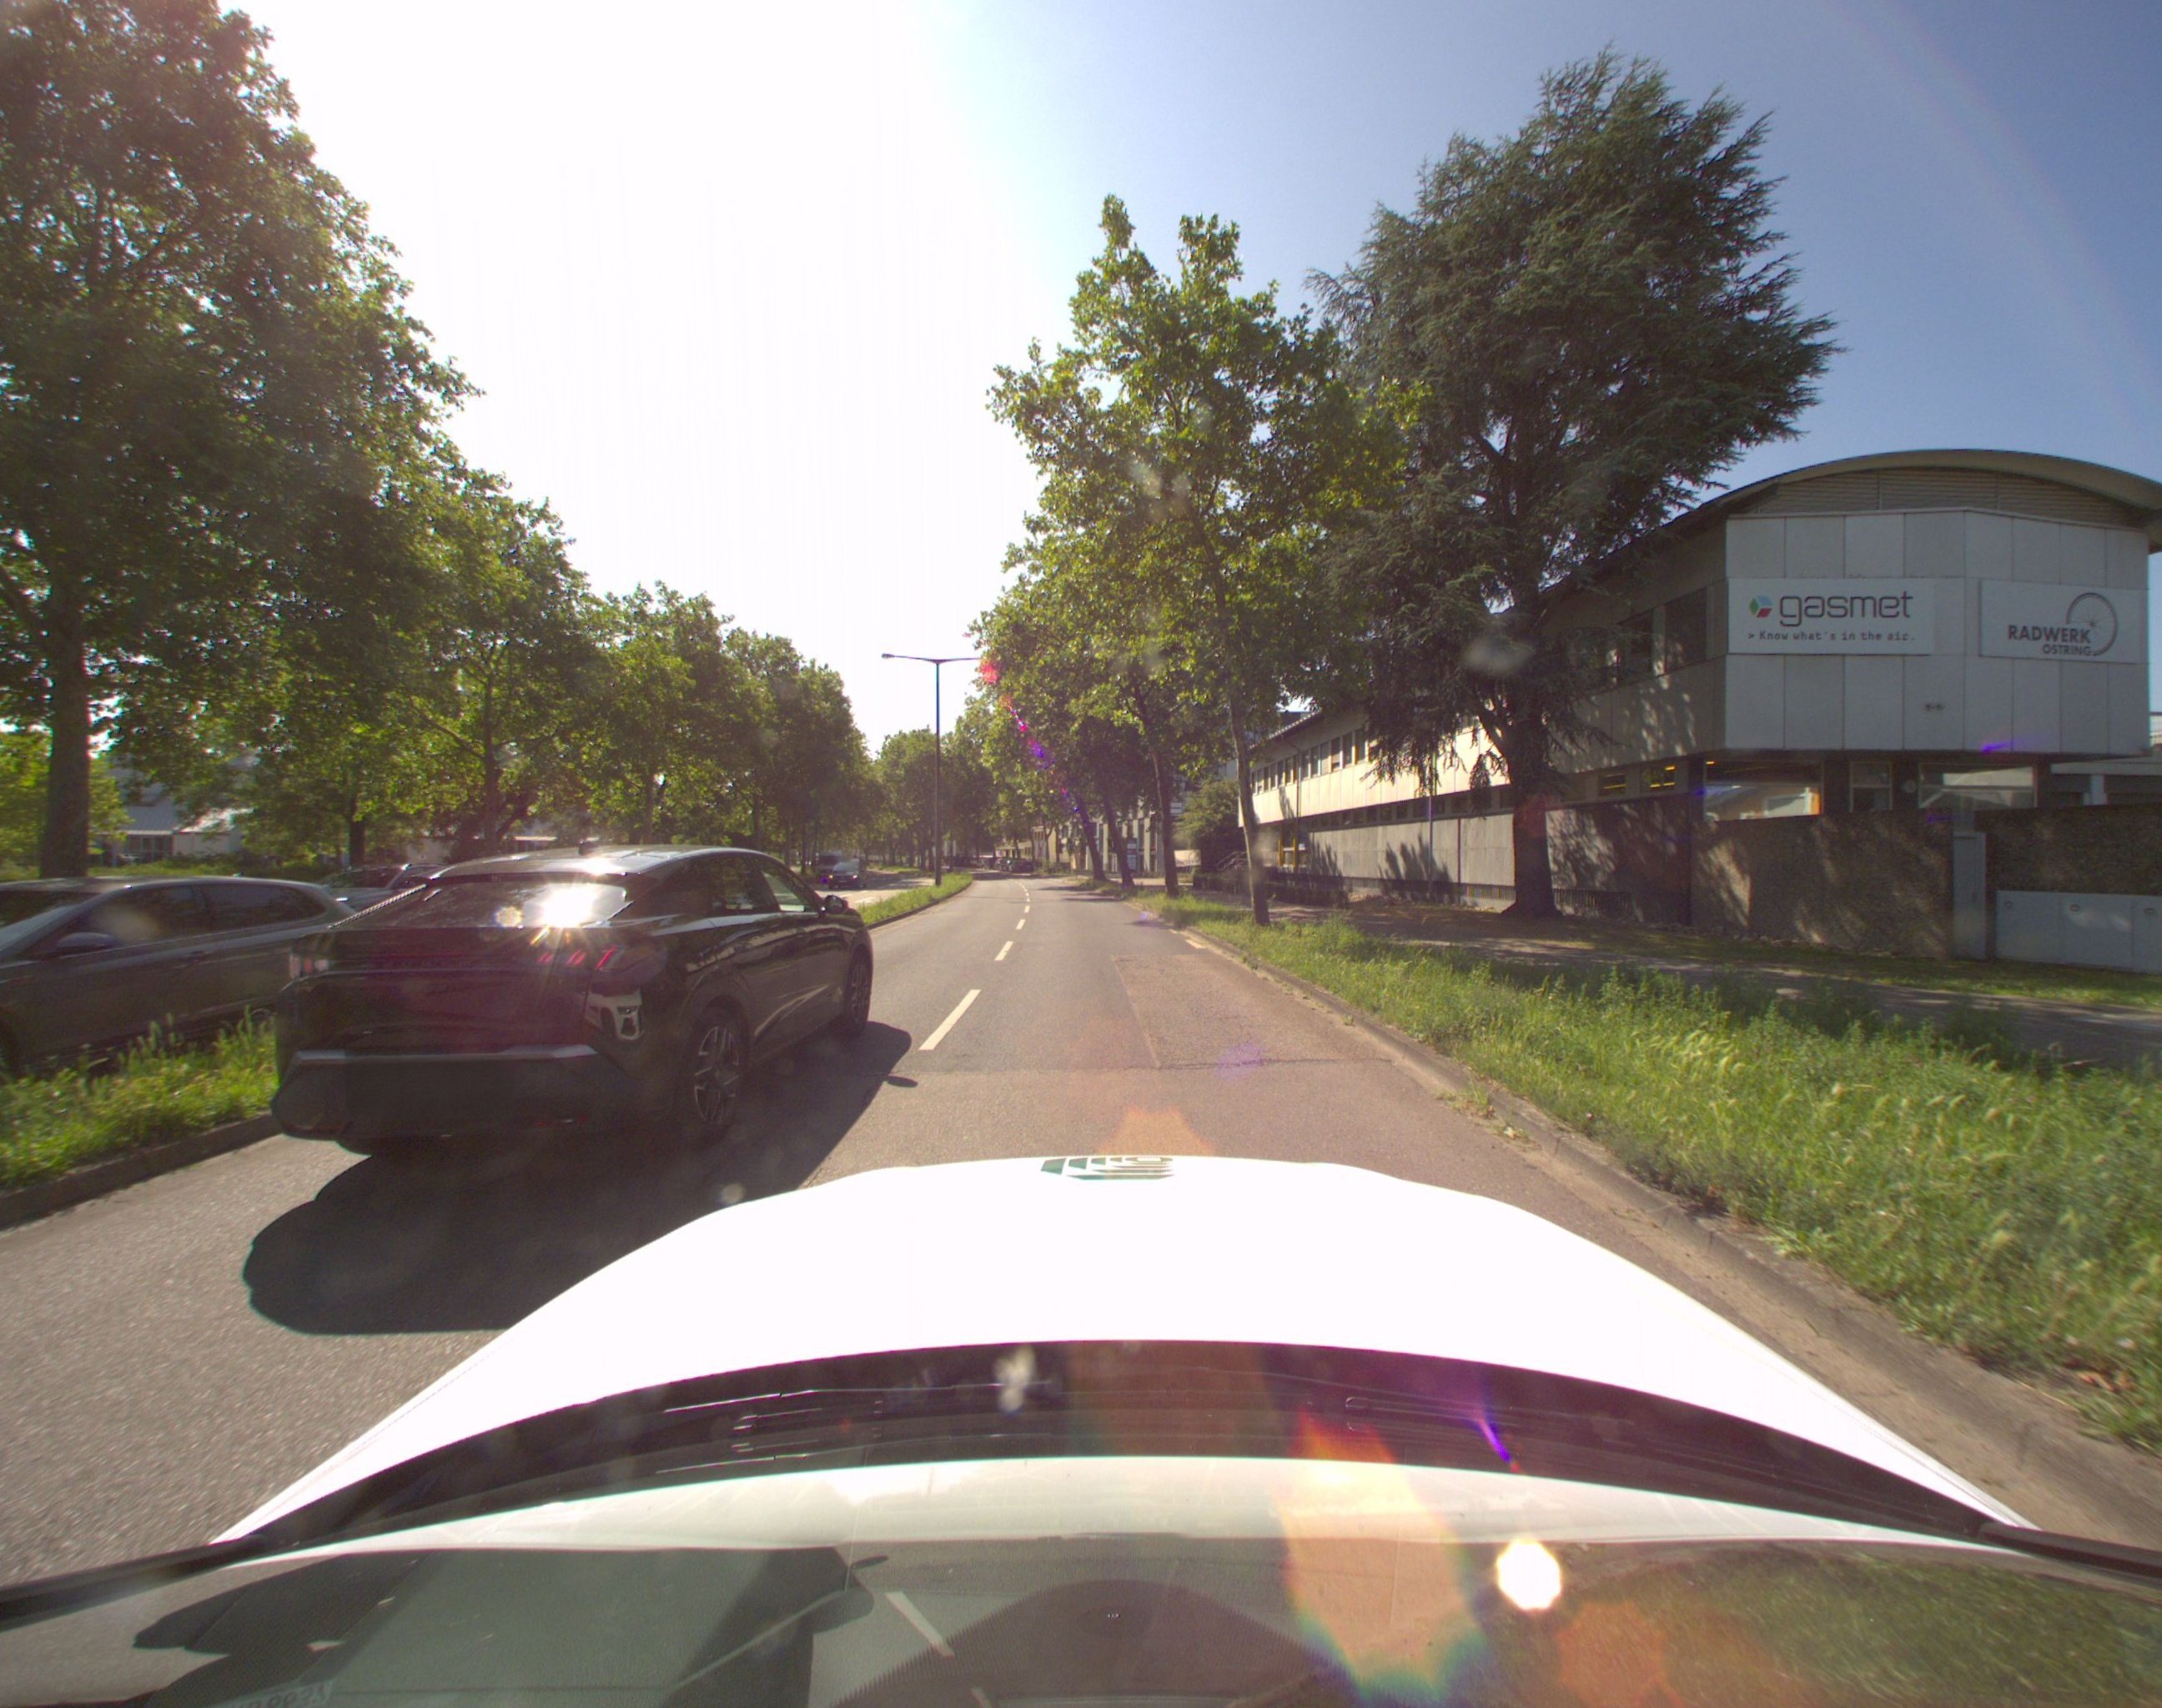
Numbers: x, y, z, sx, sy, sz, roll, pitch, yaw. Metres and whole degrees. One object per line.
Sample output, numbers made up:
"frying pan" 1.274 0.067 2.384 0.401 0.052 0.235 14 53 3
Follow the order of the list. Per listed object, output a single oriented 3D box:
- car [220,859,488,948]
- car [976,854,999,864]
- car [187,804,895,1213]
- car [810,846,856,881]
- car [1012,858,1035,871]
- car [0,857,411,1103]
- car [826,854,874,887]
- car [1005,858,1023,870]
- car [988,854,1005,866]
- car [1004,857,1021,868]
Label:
"car" -14.854 0.919 17.053 1.704 1.589 4.429 -1 0 -2
"car" -15.915 0.888 138.478 3.564 1.640 1.648 0 -1 -21
"car" -2.792 0.652 5.660 1.865 1.696 4.437 -1 0 1
"car" -19.444 0.771 64.179 2.058 2.613 7.202 -1 -1 -6
"car" -6.802 1.209 96.345 1.710 1.488 4.692 -1 0 -16
"car" -7.473 0.778 5.976 1.689 1.508 4.128 0 -1 -1
"car" -13.807 0.957 48.966 1.682 1.839 4.988 -1 0 -3
"car" -8.406 1.215 101.641 1.708 1.488 4.083 0 0 -13
"car" -12.315 0.858 118.451 1.711 1.669 4.506 0 0 -17
"car" -9.020 1.118 106.874 1.708 1.455 4.635 0 0 -12
